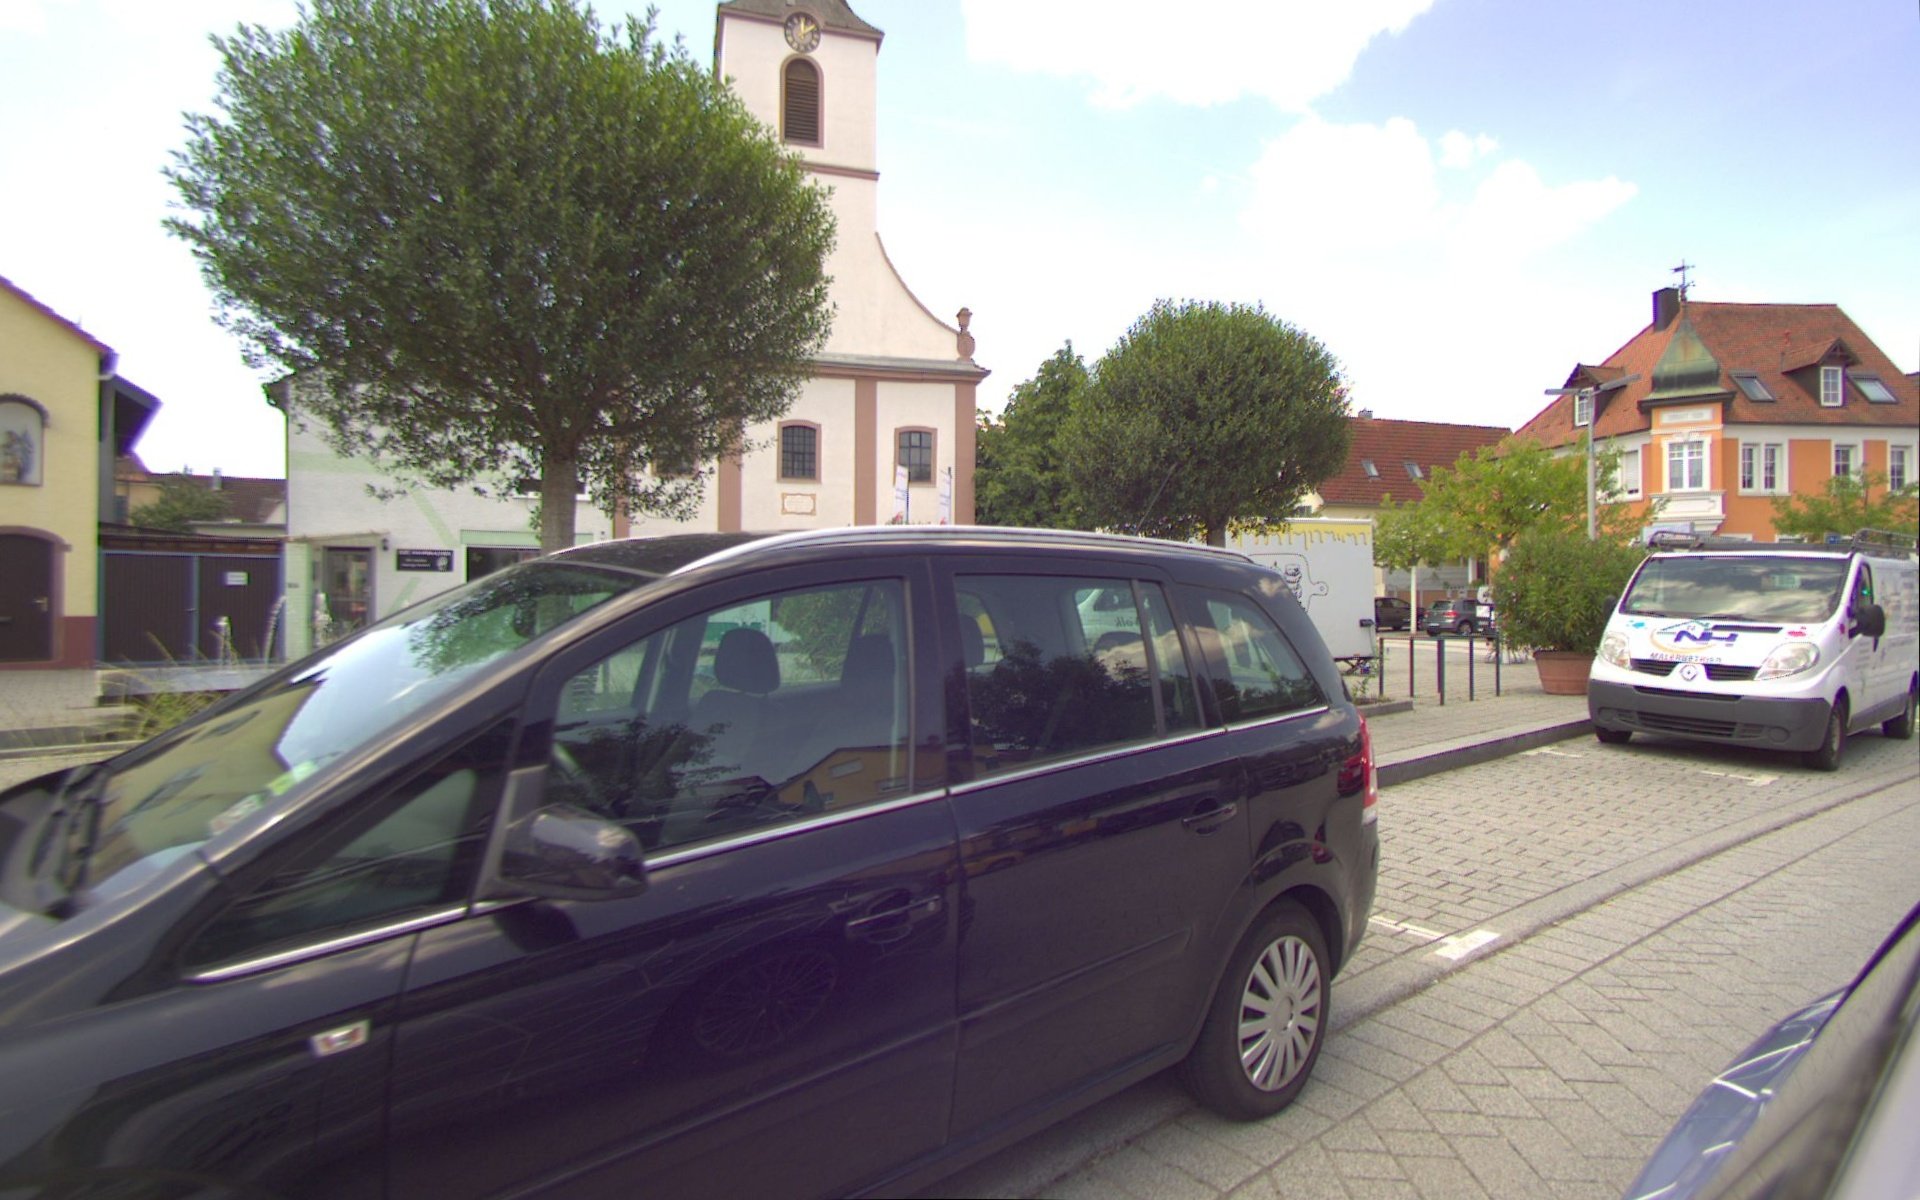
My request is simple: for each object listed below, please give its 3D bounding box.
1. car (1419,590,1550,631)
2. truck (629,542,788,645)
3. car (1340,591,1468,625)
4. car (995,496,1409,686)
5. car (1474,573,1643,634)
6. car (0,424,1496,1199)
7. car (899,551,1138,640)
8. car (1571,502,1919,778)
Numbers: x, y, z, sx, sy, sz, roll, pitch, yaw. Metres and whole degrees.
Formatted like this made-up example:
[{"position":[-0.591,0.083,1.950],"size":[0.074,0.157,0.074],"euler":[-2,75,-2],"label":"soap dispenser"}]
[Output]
[{"position":[20.037,0.382,38.675],"size":[4.623,1.503,1.628],"euler":[0,0,-17],"label":"car"},{"position":[-7.312,-0.155,28.695],"size":[2.897,2.529,6.834],"euler":[0,0,-27],"label":"truck"},{"position":[19.348,0.336,44.169],"size":[5.017,1.460,2.004],"euler":[0,0,-17],"label":"car"},{"position":[4.419,-0.175,18.515],"size":[6.965,3.001,2.766],"euler":[-1,-1,-22],"label":"car"},{"position":[21.031,0.118,35.607],"size":[5.379,2.039,2.004],"euler":[0,-1,-17],"label":"car"},{"position":[-0.553,0.555,2.635],"size":[4.337,1.584,1.774],"euler":[0,2,-37],"label":"car"},{"position":[1.775,-0.135,30.311],"size":[6.847,2.508,2.648],"euler":[0,0,8],"label":"car"},{"position":[8.376,0.276,10.413],"size":[5.009,2.204,1.947],"euler":[0,2,-39],"label":"car"}]
